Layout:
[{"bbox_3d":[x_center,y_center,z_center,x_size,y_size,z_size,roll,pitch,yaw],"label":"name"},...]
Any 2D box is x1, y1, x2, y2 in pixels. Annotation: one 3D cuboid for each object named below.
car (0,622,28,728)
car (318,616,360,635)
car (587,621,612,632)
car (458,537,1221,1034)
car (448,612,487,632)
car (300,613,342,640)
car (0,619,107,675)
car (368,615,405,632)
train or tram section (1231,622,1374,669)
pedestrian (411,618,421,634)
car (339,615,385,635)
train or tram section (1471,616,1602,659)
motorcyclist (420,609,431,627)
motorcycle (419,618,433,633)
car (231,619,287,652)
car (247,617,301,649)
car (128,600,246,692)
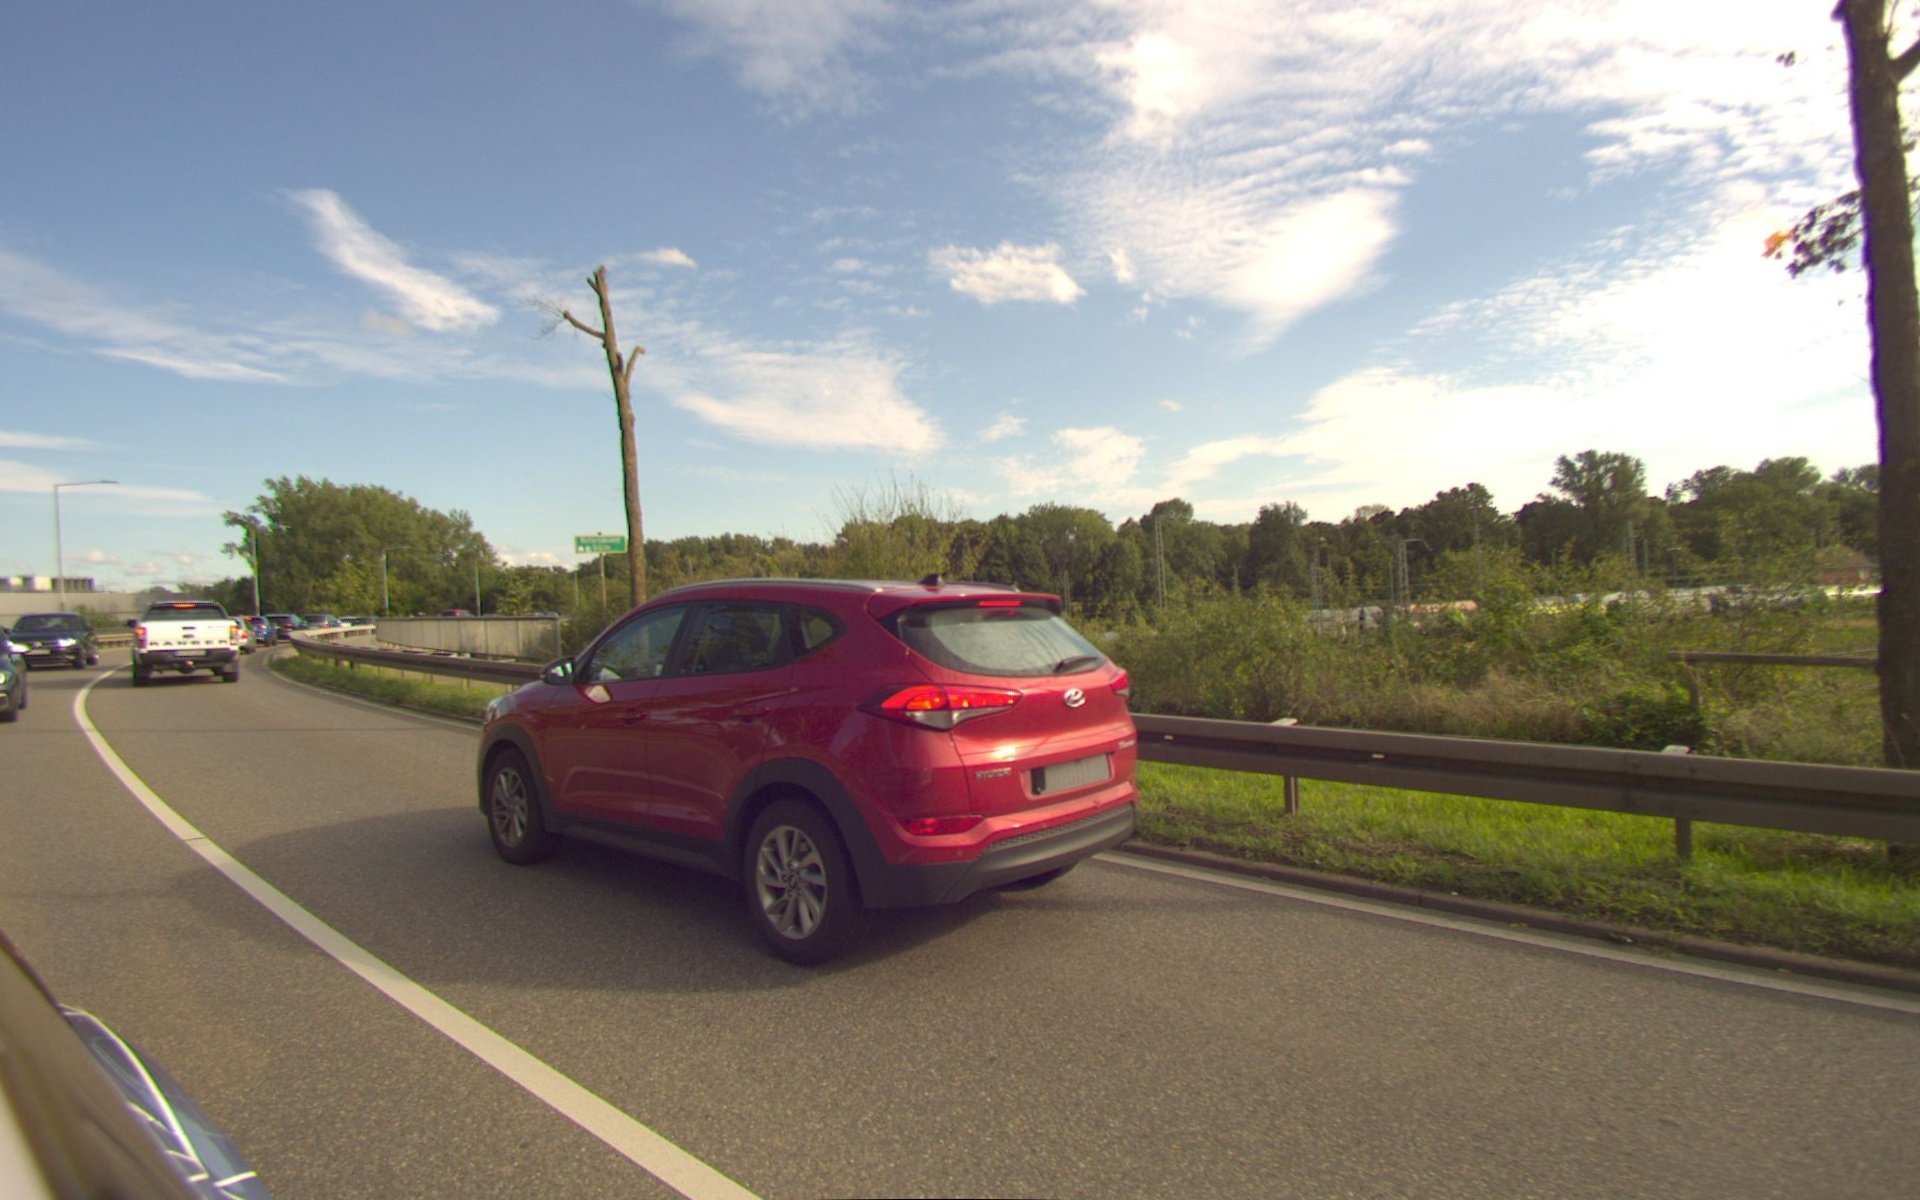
[{"bbox_3d":[-14.698,1.046,14.568,1.760,1.415,3.976,0,-1,-41],"label":"car"},{"bbox_3d":[-51.050,2.090,83.286,1.789,1.518,4.404,-1,-1,-16],"label":"car"},{"bbox_3d":[-48.440,3.544,135.981,1.724,1.512,4.071,-1,-1,5],"label":"car"},{"bbox_3d":[-0.958,0.666,5.561,4.296,1.687,1.790,-1,-1,42],"label":"car"},{"bbox_3d":[-48.637,2.129,100.048,1.983,1.918,4.874,-1,-1,-6],"label":"car"},{"bbox_3d":[-41.586,1.701,65.887,1.658,1.662,4.312,0,-1,-23],"label":"car"},{"bbox_3d":[-26.721,1.329,29.855,1.789,1.518,4.403,0,-1,-32],"label":"car"},{"bbox_3d":[-54.123,2.196,95.558,1.790,1.518,4.402,-1,-1,-12],"label":"car"},{"bbox_3d":[39.030,5.113,115.237,16.465,4.748,3.106,-1,0,-15],"label":"train or tram section"},{"bbox_3d":[-58.858,2.805,109.507,0.668,1.674,0.866,-1,0,-4],"label":"pedestrian"},{"bbox_3d":[-45.799,1.873,77.573,1.808,1.477,4.530,-1,-1,-14],"label":"car"},{"bbox_3d":[70.770,4.545,124.096,16.465,4.748,3.106,-1,0,-15],"label":"train or tram section"},{"bbox_3d":[-48.891,1.642,92.638,0.612,1.565,0.939,-1,-1,-7],"label":"motorcyclist"},{"bbox_3d":[-48.870,2.327,92.658,0.612,1.262,1.795,-1,-1,-8],"label":"motorcycle"},{"bbox_3d":[-34.459,1.693,49.828,1.774,1.531,4.020,0,-1,-27],"label":"car"},{"bbox_3d":[-38.428,1.830,56.769,1.898,1.662,4.603,0,-1,-26],"label":"car"},{"bbox_3d":[-17.713,0.968,23.072,1.877,1.824,5.412,-1,0,-40],"label":"car"}]
